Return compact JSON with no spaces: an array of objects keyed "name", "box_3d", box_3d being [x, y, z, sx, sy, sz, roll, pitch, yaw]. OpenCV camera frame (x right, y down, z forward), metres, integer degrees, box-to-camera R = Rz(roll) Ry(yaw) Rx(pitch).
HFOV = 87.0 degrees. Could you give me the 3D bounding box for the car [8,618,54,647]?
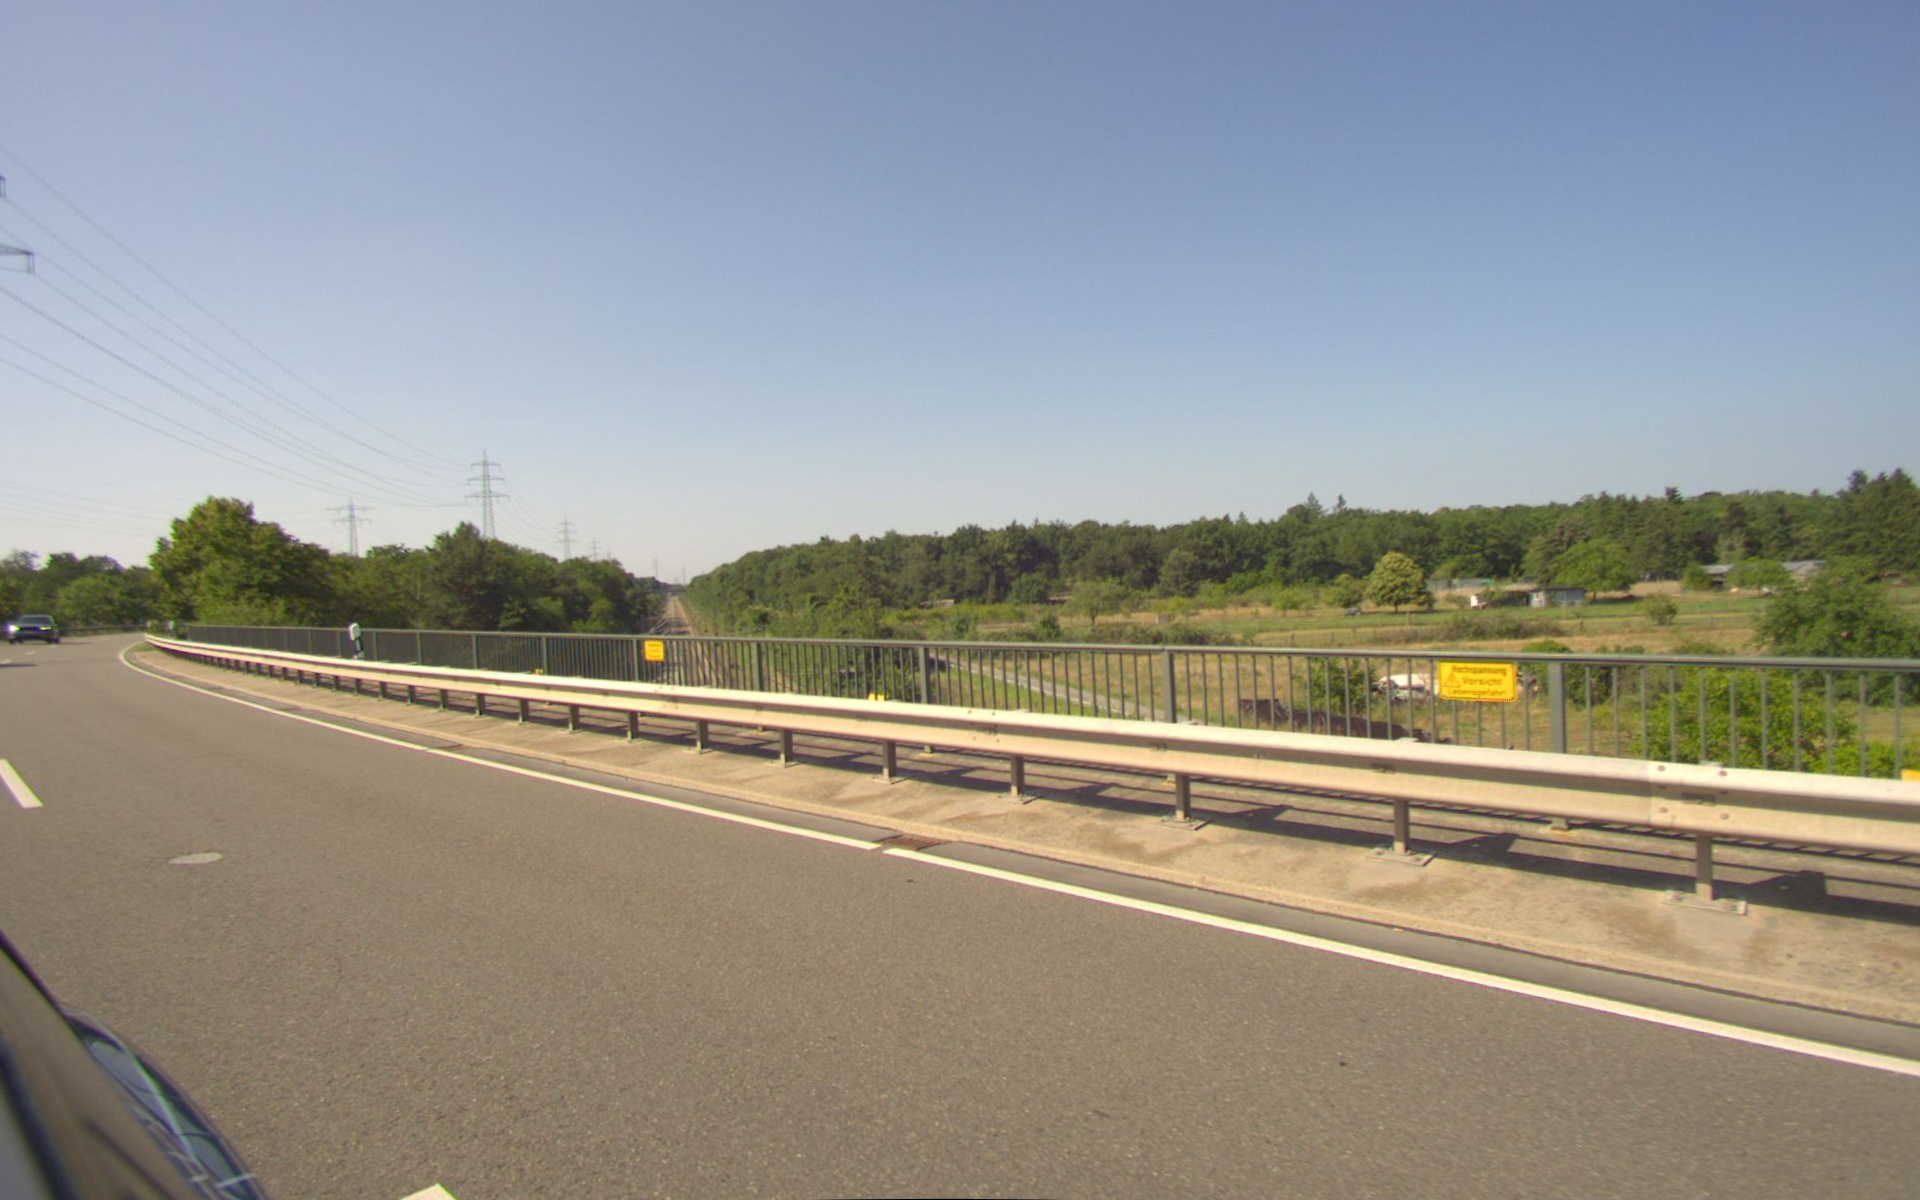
[{"name":"car","box_3d":[-53.851,1.847,58.700,1.582,1.506,4.009,-1,1,-37]}]
